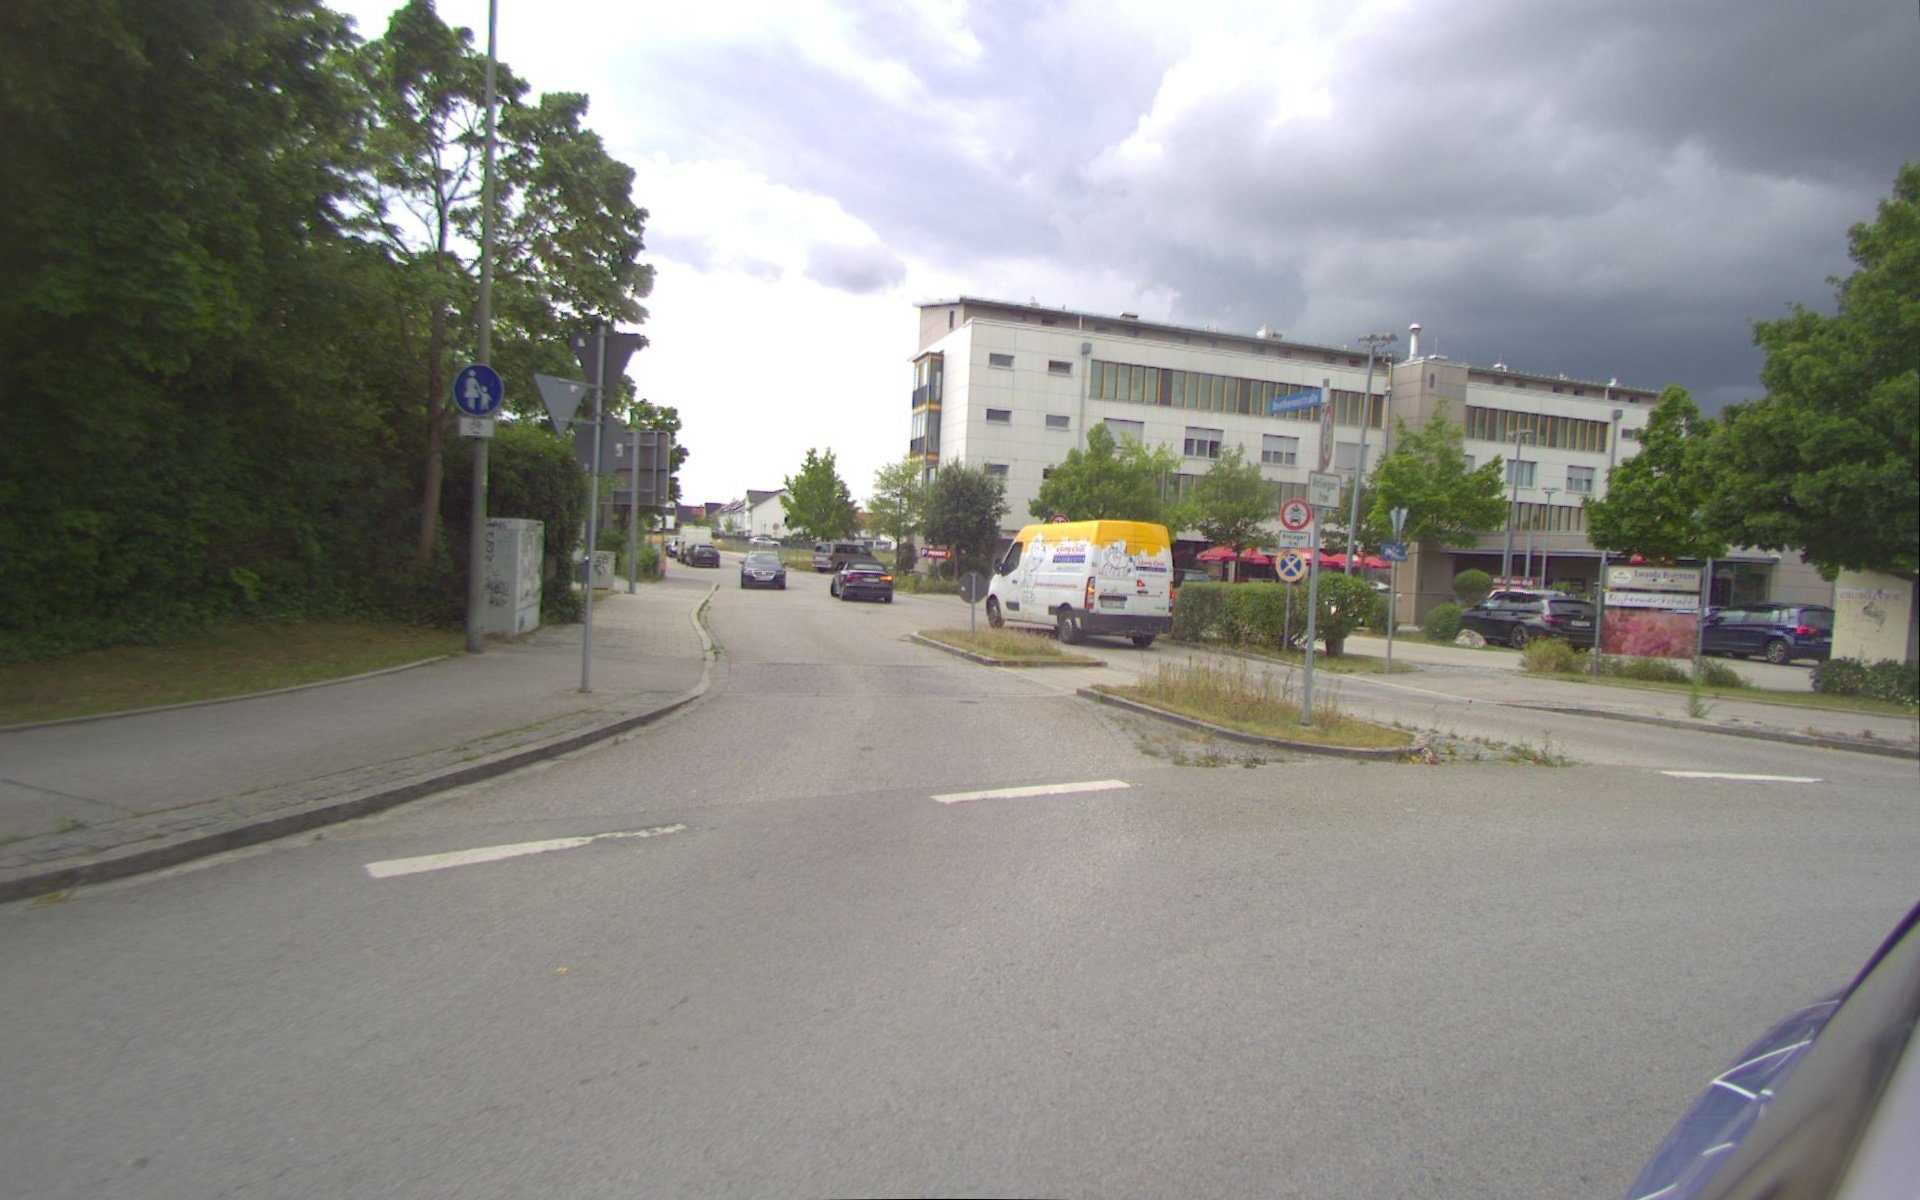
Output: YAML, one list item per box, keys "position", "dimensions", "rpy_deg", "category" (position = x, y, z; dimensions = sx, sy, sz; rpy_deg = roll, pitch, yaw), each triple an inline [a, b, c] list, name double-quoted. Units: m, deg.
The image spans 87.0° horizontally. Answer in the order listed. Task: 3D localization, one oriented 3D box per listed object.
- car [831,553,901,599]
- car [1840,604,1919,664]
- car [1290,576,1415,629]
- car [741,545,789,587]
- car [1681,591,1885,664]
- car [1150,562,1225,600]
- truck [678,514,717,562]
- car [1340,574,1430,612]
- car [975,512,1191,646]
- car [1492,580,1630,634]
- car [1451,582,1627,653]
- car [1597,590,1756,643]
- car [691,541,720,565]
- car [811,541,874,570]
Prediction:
- position: [-3.276, -0.856, 34.510]
  dimensions: [1.763, 1.347, 4.011]
  rpy_deg: [2, 3, -13]
  category: "car"
- position: [26.675, 0.998, 27.635]
  dimensions: [1.625, 1.522, 3.799]
  rpy_deg: [3, 2, -7]
  category: "car"
- position: [12.306, 0.036, 31.998]
  dimensions: [1.784, 1.475, 4.008]
  rpy_deg: [2, 1, -11]
  category: "car"
- position: [-7.864, -1.409, 40.819]
  dimensions: [1.763, 1.481, 4.010]
  rpy_deg: [3, 3, -11]
  category: "car"
- position: [21.810, 0.669, 27.044]
  dimensions: [1.784, 1.561, 4.007]
  rpy_deg: [3, 2, -7]
  category: "car"
- position: [10.160, -0.887, 45.521]
  dimensions: [1.784, 1.474, 4.009]
  rpy_deg: [2, 3, -11]
  category: "car"
- position: [-18.134, -4.215, 69.786]
  dimensions: [2.123, 3.114, 5.424]
  rpy_deg: [2, 2, -18]
  category: "truck"
- position: [19.193, -0.350, 45.877]
  dimensions: [1.784, 1.474, 4.009]
  rpy_deg: [2, 3, -11]
  category: "car"
- position: [2.454, -0.547, 22.073]
  dimensions: [2.124, 2.481, 5.456]
  rpy_deg: [3, 3, -23]
  category: "car"
- position: [19.131, 0.210, 32.445]
  dimensions: [1.839, 1.530, 4.088]
  rpy_deg: [3, 0, -1]
  category: "car"
- position: [14.762, 0.377, 26.094]
  dimensions: [1.784, 1.474, 4.008]
  rpy_deg: [3, 3, -7]
  category: "car"
- position: [24.152, 0.511, 34.298]
  dimensions: [1.742, 1.558, 4.096]
  rpy_deg: [3, 0, -19]
  category: "car"
- position: [-15.947, -2.963, 63.282]
  dimensions: [1.510, 1.396, 3.521]
  rpy_deg: [1, 3, -18]
  category: "car"
- position: [-7.503, -2.822, 64.842]
  dimensions: [1.648, 1.753, 3.942]
  rpy_deg: [3, 3, 40]
  category: "car"
